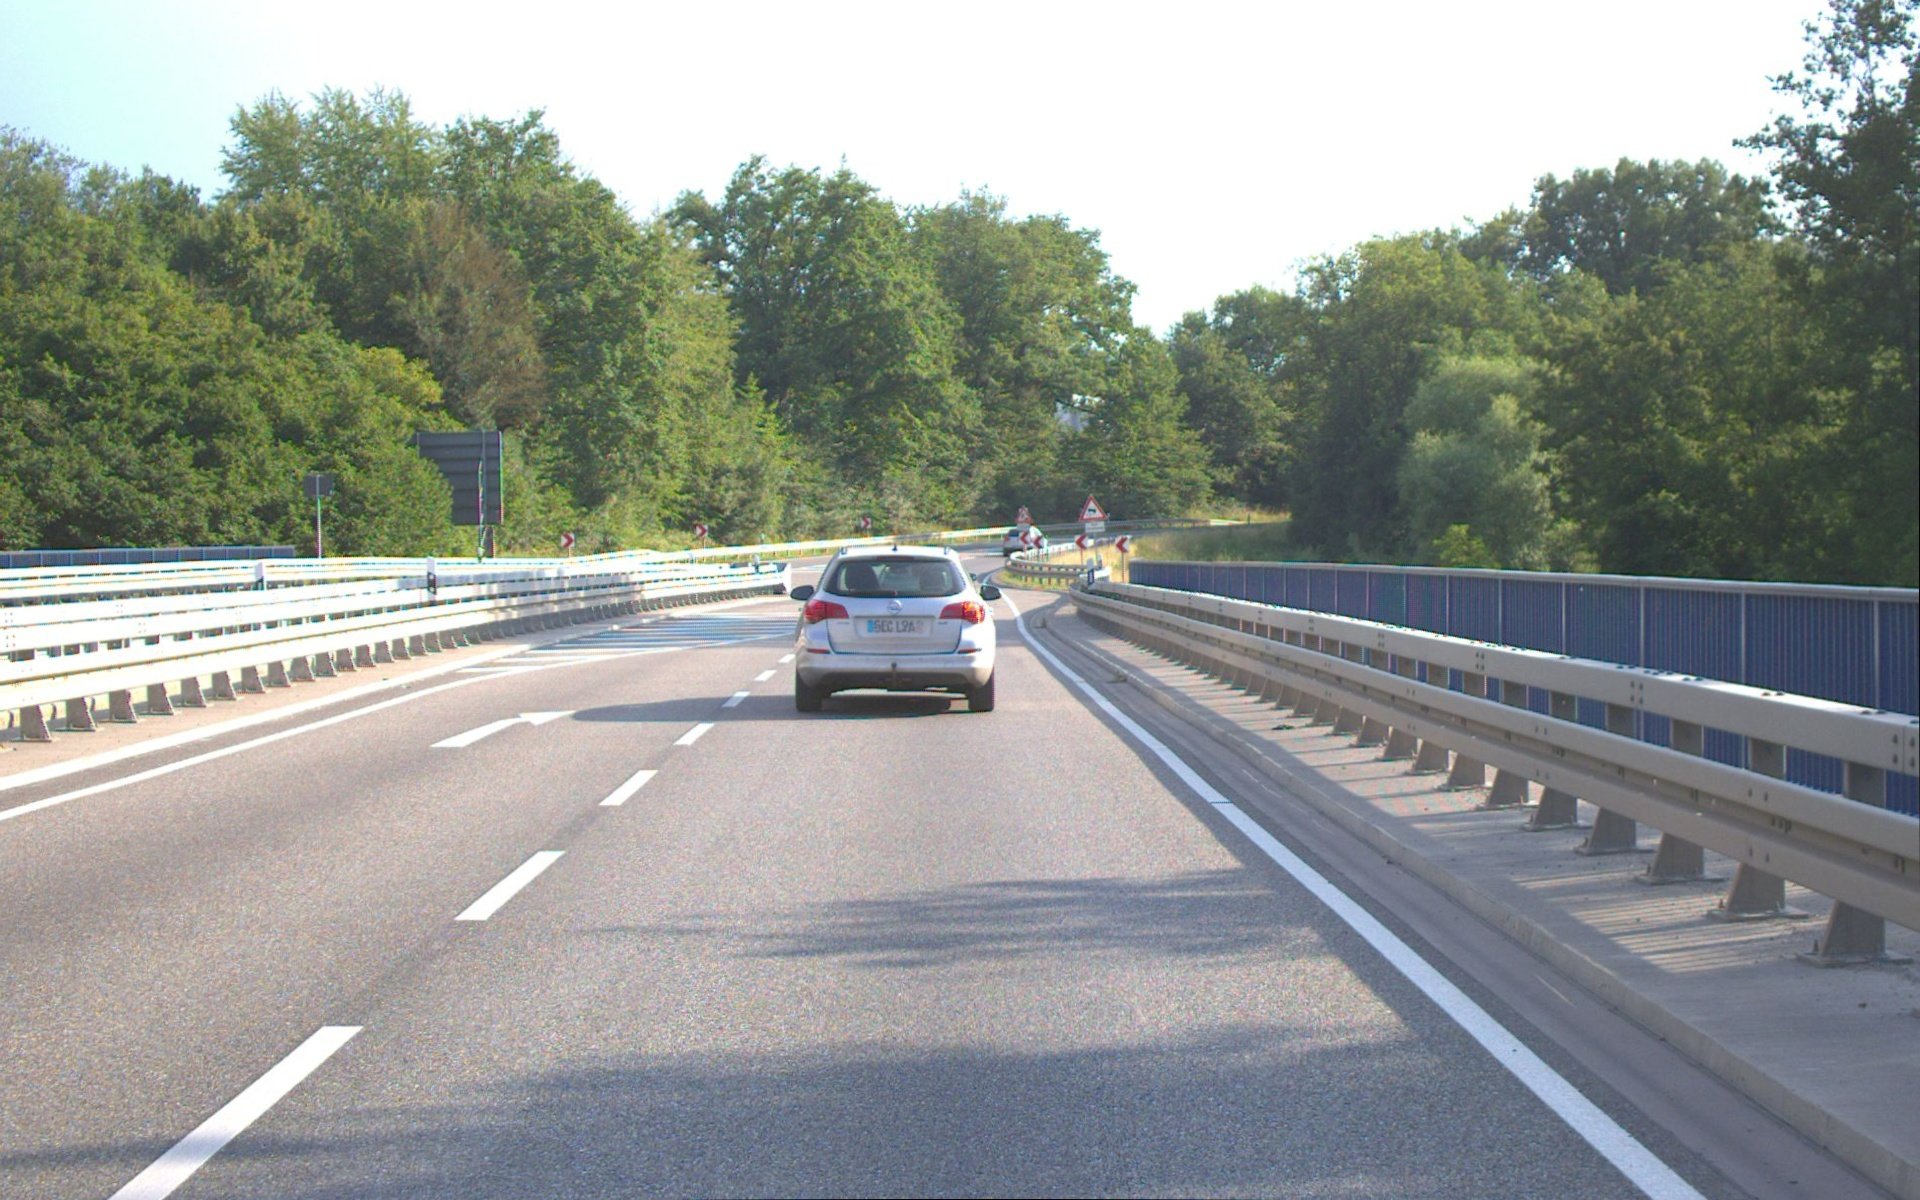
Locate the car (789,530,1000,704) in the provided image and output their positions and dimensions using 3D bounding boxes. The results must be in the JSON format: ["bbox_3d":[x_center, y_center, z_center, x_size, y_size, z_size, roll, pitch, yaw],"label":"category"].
[{"bbox_3d":[-0.607,0.149,31.701,1.809,1.481,4.000,1,0,-1],"label":"car"}]

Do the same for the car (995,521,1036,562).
[{"bbox_3d":[2.827,-2.953,173.868,1.993,2.007,4.000,1,0,1],"label":"car"}]

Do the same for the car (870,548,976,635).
[{"bbox_3d":[-0.675,-0.147,60.942,1.809,1.481,4.000,1,0,-1],"label":"car"}]
